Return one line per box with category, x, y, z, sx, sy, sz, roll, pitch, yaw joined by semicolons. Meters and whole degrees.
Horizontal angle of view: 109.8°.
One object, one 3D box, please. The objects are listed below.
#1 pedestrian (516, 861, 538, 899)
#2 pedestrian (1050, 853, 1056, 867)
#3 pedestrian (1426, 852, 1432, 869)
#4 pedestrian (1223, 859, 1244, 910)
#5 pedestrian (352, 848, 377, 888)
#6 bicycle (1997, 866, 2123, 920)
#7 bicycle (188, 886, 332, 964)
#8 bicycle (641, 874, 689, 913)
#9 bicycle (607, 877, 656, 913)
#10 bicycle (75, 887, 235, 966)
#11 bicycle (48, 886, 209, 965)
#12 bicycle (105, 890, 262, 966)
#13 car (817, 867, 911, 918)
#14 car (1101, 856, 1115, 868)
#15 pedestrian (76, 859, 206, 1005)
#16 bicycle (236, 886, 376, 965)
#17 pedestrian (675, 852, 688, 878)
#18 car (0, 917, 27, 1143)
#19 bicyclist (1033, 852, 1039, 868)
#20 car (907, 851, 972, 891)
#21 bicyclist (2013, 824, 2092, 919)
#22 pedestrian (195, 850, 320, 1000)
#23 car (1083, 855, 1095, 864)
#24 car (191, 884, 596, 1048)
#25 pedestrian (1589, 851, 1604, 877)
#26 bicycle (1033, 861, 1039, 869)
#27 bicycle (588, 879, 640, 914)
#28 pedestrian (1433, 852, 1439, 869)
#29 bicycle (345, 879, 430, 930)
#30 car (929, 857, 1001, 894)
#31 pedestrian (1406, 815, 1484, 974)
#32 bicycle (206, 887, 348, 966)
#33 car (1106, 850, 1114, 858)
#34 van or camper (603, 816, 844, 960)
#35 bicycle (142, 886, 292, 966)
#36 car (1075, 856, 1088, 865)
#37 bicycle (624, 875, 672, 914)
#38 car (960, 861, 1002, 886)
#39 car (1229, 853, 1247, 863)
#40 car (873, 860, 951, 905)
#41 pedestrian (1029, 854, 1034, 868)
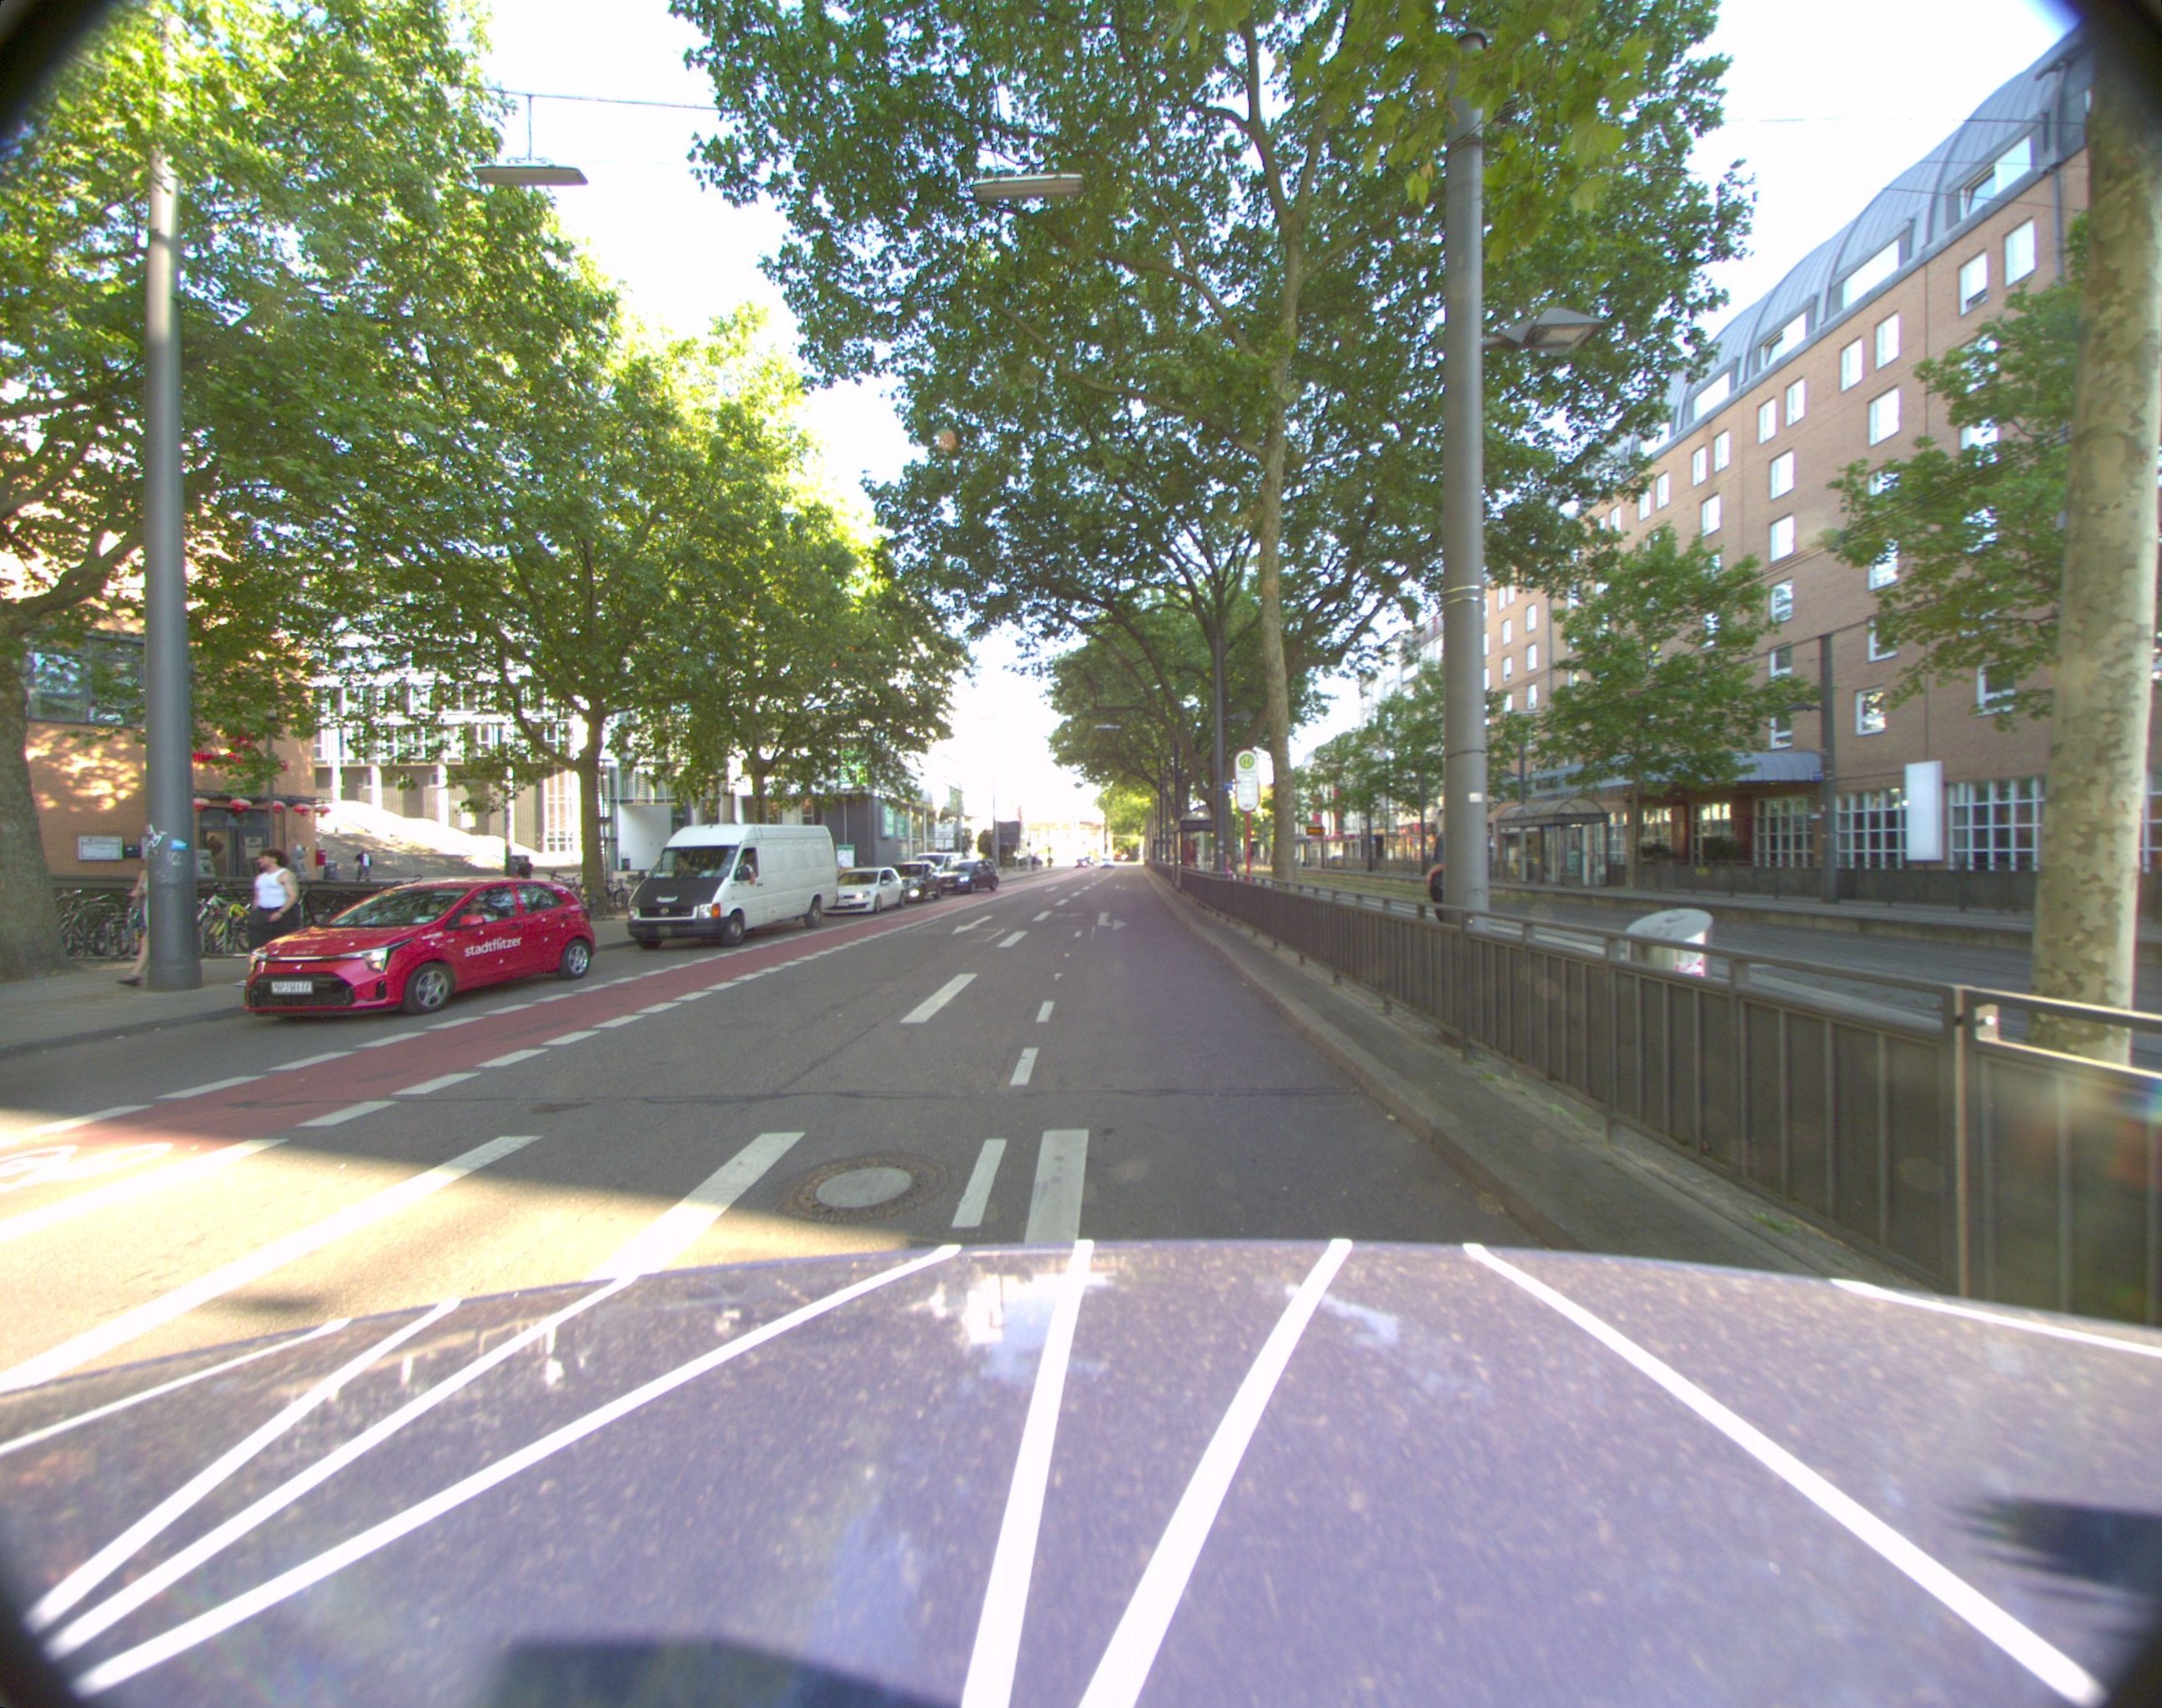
pedestrian;-23.160;1.077;31.765;0.719;1.549;0.639;-1;1;-35
pedestrian;-3.857;0.806;105.544;0.676;1.853;0.741;-2;1;1
pedestrian;31.247;0.555;68.191;0.438;1.497;0.659;0;1;23
pedestrian;3.929;0.774;19.637;0.500;1.308;0.419;0;1;8
pedestrian;-36.718;0.688;38.934;0.878;2.025;0.584;-1;1;-43
bicycle;19.929;0.769;15.527;0.451;0.998;1.753;-1;0;6
bicycle;-14.329;1.199;13.339;0.484;1.187;1.850;0;0;1
bicycle;-13.574;1.266;24.855;0.522;1.187;1.850;0;0;1
bicycle;-14.662;1.318;24.833;0.522;1.088;1.797;0;0;1
bicycle;-15.926;1.202;13.150;0.458;1.187;1.850;0;0;1
bicycle;-16.389;1.196;13.152;0.435;1.187;1.850;0;0;1
bicycle;-15.428;1.235;13.147;0.485;1.118;1.850;0;0;1
car;-6.976;1.184;24.878;1.682;1.420;4.001;-1;0;3
car;3.545;1.055;99.722;1.733;1.432;4.000;-2;0;2
pedestrian;-11.875;0.949;9.629;0.648;1.766;0.764;-1;1;-6
bicycle;-13.320;1.192;13.142;0.482;1.187;1.850;0;0;1
pedestrian;-33.194;0.893;63.123;0.836;2.144;0.858;-1;1;-23
car;-7.994;1.172;2.983;1.743;1.476;4.251;-1;0;0
bicyclist;-4.917;0.646;83.154;0.673;1.707;0.715;-1;1;1
car;-7.470;0.858;40.595;1.965;1.983;4.960;-1;0;7
bicyclist;19.832;0.344;15.526;0.572;1.893;0.813;0;1;6
pedestrian;-10.646;0.893;9.859;0.643;1.834;0.814;3;0;-4
car;1.438;0.945;132.322;1.801;1.438;4.001;0;0;3
car;-7.947;1.176;9.321;1.606;1.449;3.651;-1;0;0
pedestrian;29.030;0.545;42.773;0.519;1.427;0.516;-1;1;4
bicycle;-4.903;1.164;83.150;0.580;0.879;1.671;-1;0;1
bicycle;-15.222;1.363;24.808;0.516;1.027;1.850;0;0;1
pedestrian;31.758;0.605;67.970;0.438;1.511;0.659;0;1;23
bicycle;-17.850;1.285;19.606;0.517;1.187;1.790;0;0;1
car;-5.557;1.012;37.025;1.964;1.610;4.335;-1;0;14
pedestrian;4.453;0.468;9.315;0.607;1.873;0.622;-2;3;-14
bicycle;-13.823;1.203;13.148;0.448;1.187;1.850;0;0;1
car;7.765;-0.033;206.033;1.998;2.002;4.001;0;0;4
van or camper;-7.540;0.618;17.119;1.998;2.563;6.575;-2;0;3
bicycle;-14.845;1.198;13.139;0.447;1.187;1.850;0;0;1
car;0.129;0.980;114.986;1.801;1.369;4.001;0;0;3
bicycle;-14.117;1.296;24.834;0.495;1.187;1.850;0;0;1
car;-6.013;1.173;46.261;1.801;1.369;4.001;0;0;3
car;26.714;0.657;129.095;1.999;1.510;3.998;-1;0;-3
car;-6.718;1.080;30.610;1.818;1.610;4.229;-1;0;5
pedestrian;-5.699;0.821;87.398;0.611;1.644;0.583;-1;1;1
